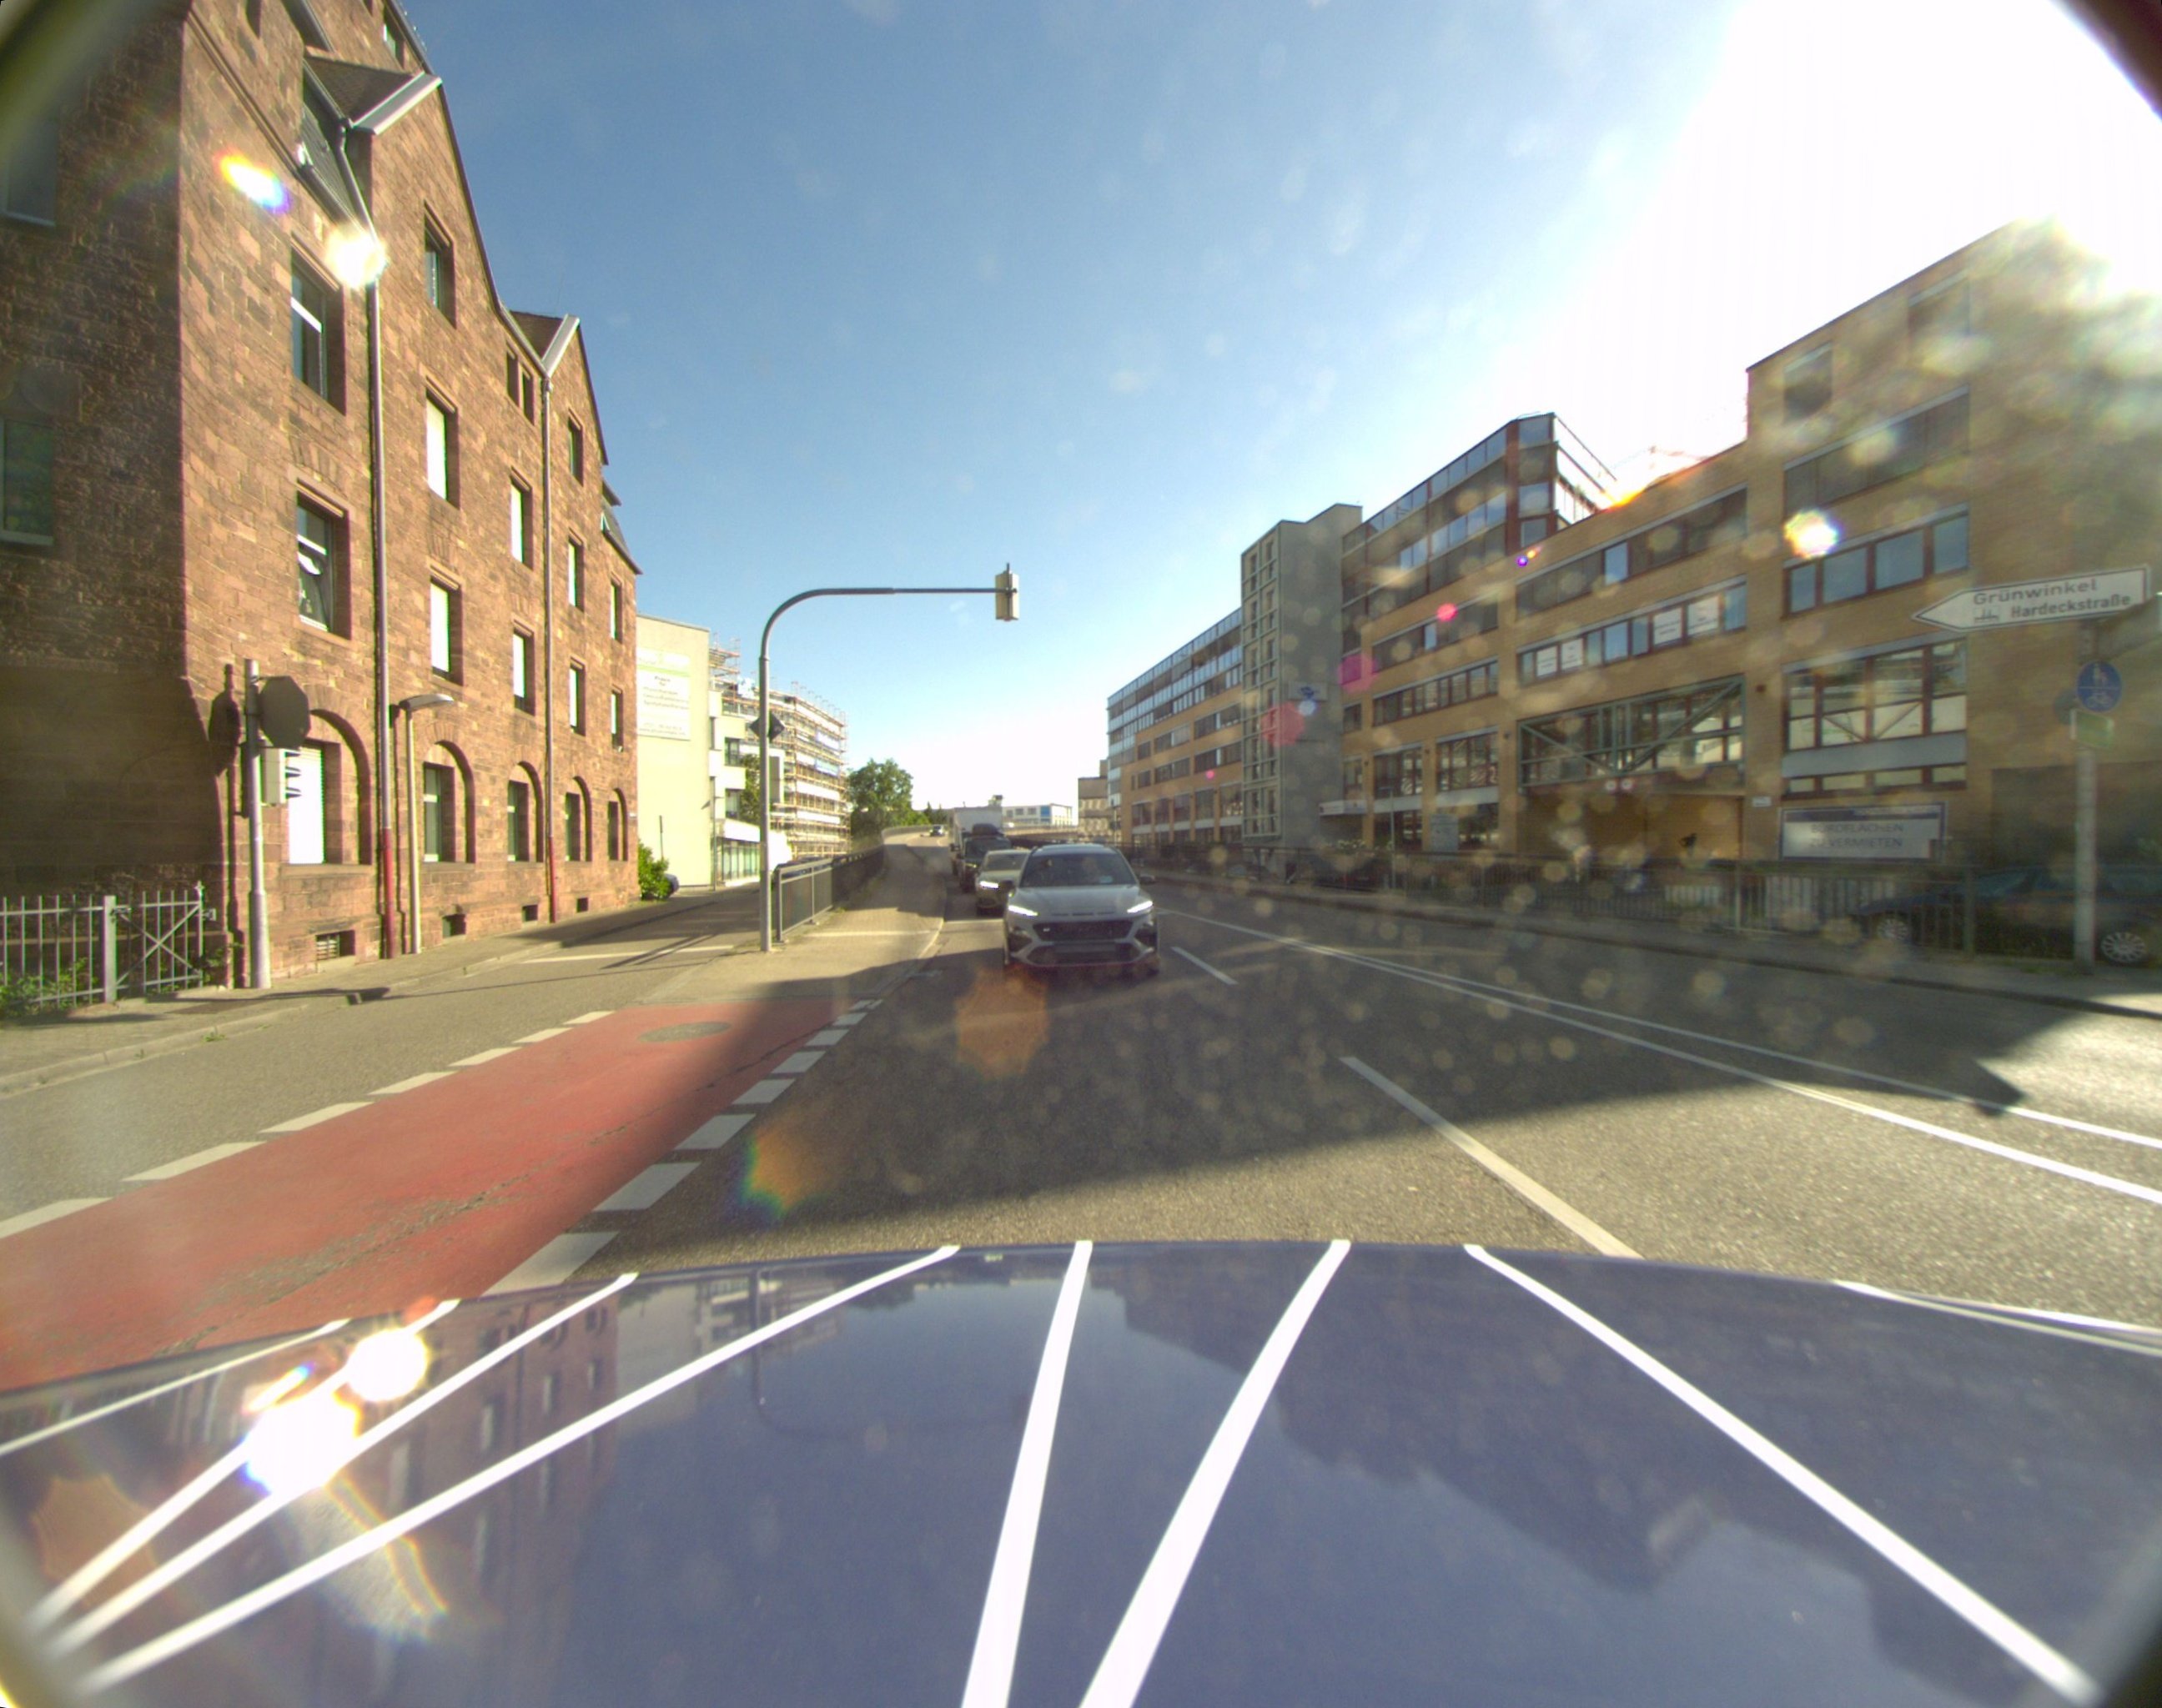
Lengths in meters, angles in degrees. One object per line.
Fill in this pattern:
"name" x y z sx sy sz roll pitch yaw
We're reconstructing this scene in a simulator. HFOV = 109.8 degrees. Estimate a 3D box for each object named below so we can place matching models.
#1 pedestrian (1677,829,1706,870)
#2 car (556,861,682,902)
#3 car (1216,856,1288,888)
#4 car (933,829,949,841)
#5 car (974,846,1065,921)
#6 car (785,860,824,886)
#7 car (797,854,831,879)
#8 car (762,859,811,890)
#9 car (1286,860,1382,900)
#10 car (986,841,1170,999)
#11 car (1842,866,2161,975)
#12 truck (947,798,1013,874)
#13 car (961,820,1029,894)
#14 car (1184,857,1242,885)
"pedestrian" 28.219 -0.198 35.132 0.747 1.840 0.704 -2 1 -9
"car" -19.262 1.108 31.779 1.914 1.522 4.101 -1 0 42
"car" 8.738 0.888 39.247 1.882 1.514 4.155 -1 0 -16
"car" -20.786 -2.793 112.987 1.757 1.749 4.783 -1 0 -5
"car" -1.618 0.603 18.470 1.880 1.462 4.630 -1 2 -8
"car" -17.614 1.174 48.585 2.055 1.522 4.087 -1 0 -16
"car" -19.517 0.893 55.756 2.055 1.676 4.087 -1 0 -16
"car" -16.109 1.085 41.758 2.055 1.522 4.087 -1 0 -15
"car" 10.412 1.025 31.595 1.640 1.514 4.154 -1 0 -18
"car" -0.081 0.664 9.913 1.879 1.612 4.195 0 0 -2
"car" 15.402 0.963 12.163 1.660 1.500 4.375 1 -1 -11
"truck" -4.778 -0.737 34.817 2.505 3.110 6.952 -1 0 -11
"car" -3.010 0.088 25.728 1.952 2.248 4.781 -1 0 -10
"car" 7.709 0.955 44.722 1.886 1.554 3.995 -1 0 -13
